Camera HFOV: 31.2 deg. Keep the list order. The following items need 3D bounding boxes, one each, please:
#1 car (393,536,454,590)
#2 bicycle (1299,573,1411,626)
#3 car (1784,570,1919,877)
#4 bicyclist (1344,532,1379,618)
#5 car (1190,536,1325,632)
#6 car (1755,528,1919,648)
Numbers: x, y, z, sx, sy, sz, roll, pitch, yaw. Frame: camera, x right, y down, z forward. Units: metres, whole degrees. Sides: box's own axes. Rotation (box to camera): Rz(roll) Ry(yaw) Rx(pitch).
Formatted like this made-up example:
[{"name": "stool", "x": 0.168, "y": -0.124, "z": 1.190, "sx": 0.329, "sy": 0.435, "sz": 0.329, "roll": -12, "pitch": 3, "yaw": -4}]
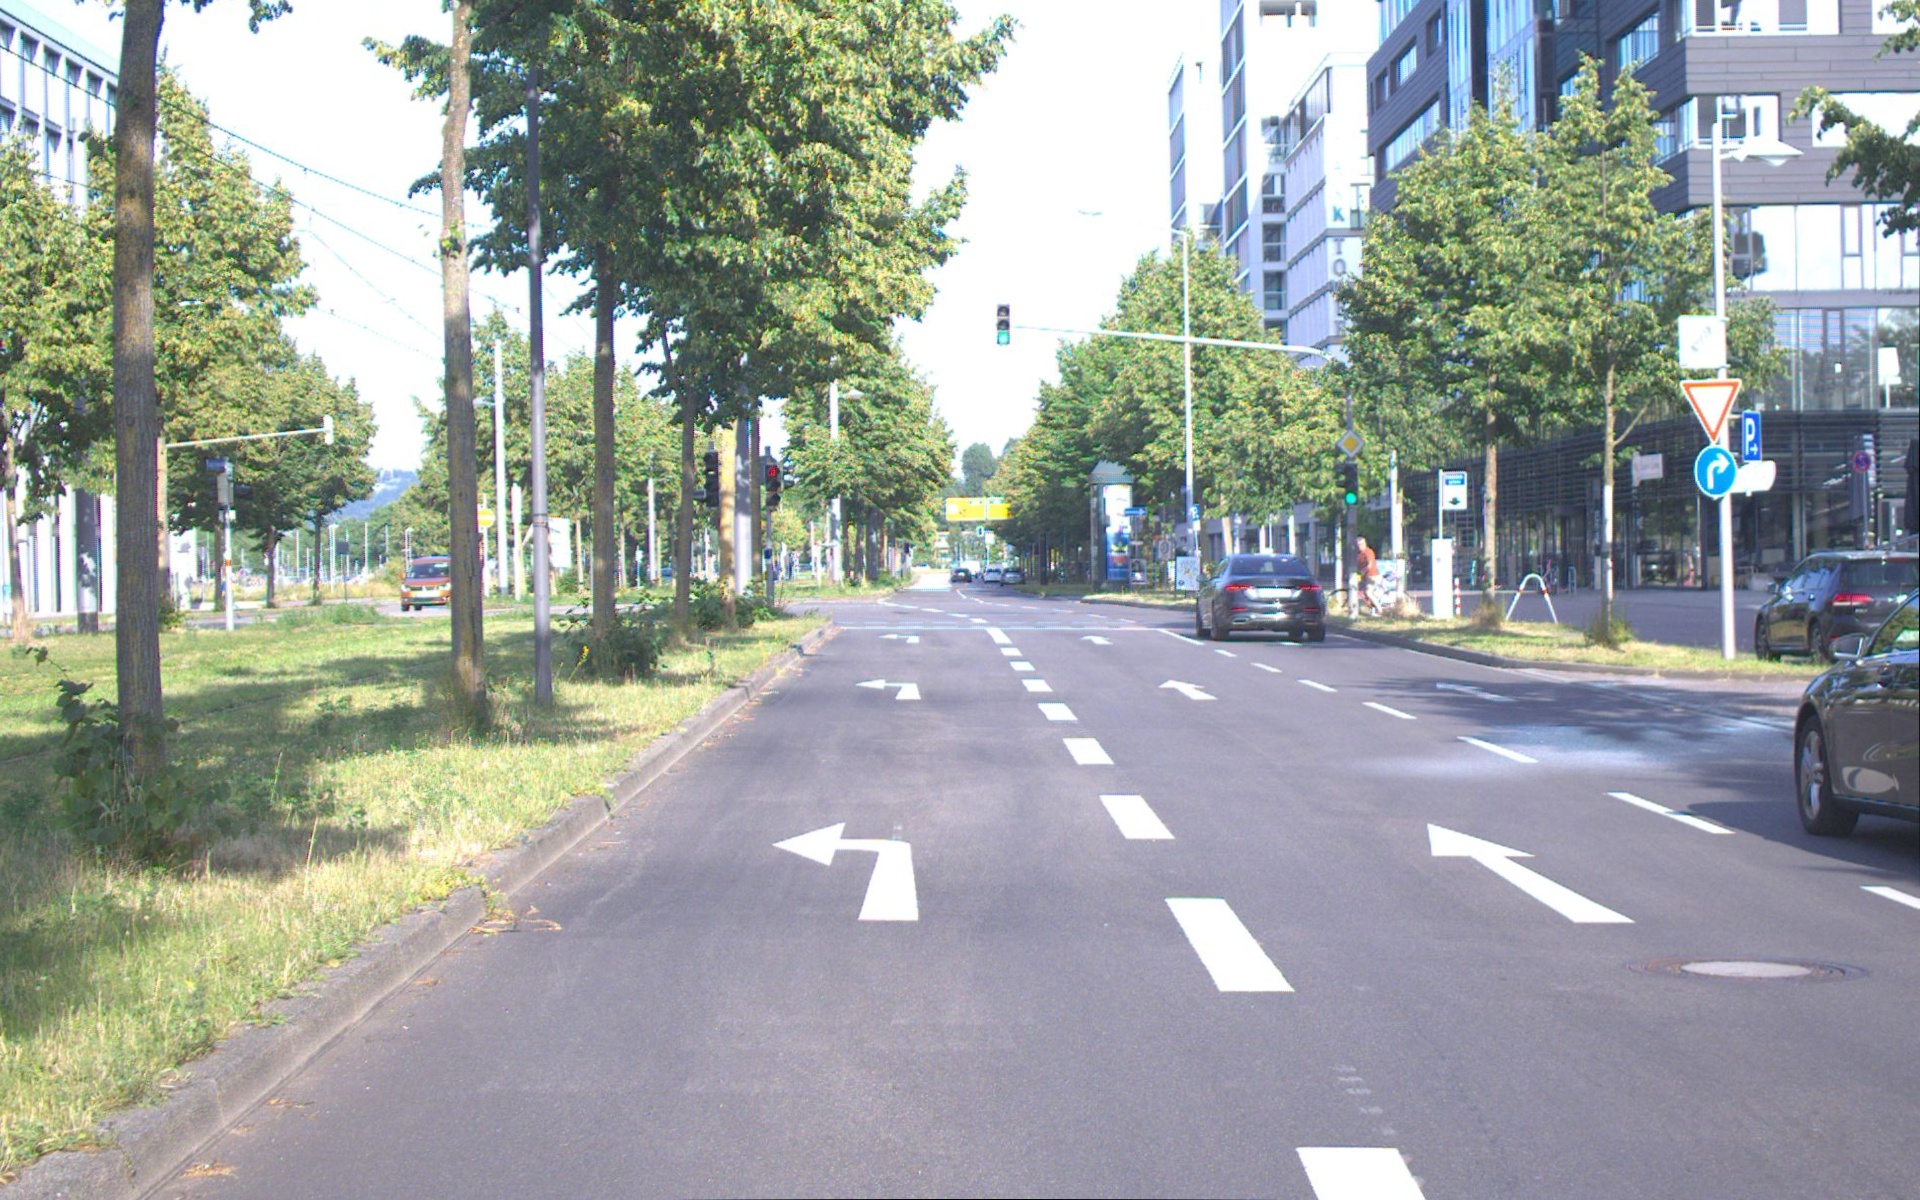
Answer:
[{"name": "car", "x": -18.100, "y": -1.246, "z": 116.141, "sx": 1.684, "sy": 1.769, "sz": 3.883, "roll": 1, "pitch": 0, "yaw": -4}, {"name": "bicycle", "x": 7.834, "y": -0.013, "z": 68.261, "sx": 2.134, "sy": 1.009, "sz": 0.571, "roll": 1, "pitch": 0, "yaw": -4}, {"name": "car", "x": 5.335, "y": 0.582, "z": 16.543, "sx": 1.774, "sy": 1.419, "sz": 3.961, "roll": 1, "pitch": 0, "yaw": 0}, {"name": "bicyclist", "x": 7.963, "y": -0.496, "z": 68.265, "sx": 0.574, "sy": 1.701, "sz": 0.541, "roll": 1, "pitch": 0, "yaw": -4}, {"name": "car", "x": 4.874, "y": -0.264, "z": 56.764, "sx": 1.859, "sy": 1.519, "sz": 3.785, "roll": 1, "pitch": 0, "yaw": 0}, {"name": "car", "x": 10.809, "y": -0.148, "z": 41.774, "sx": 1.607, "sy": 1.366, "sz": 4.157, "roll": 1, "pitch": 0, "yaw": 4}]
